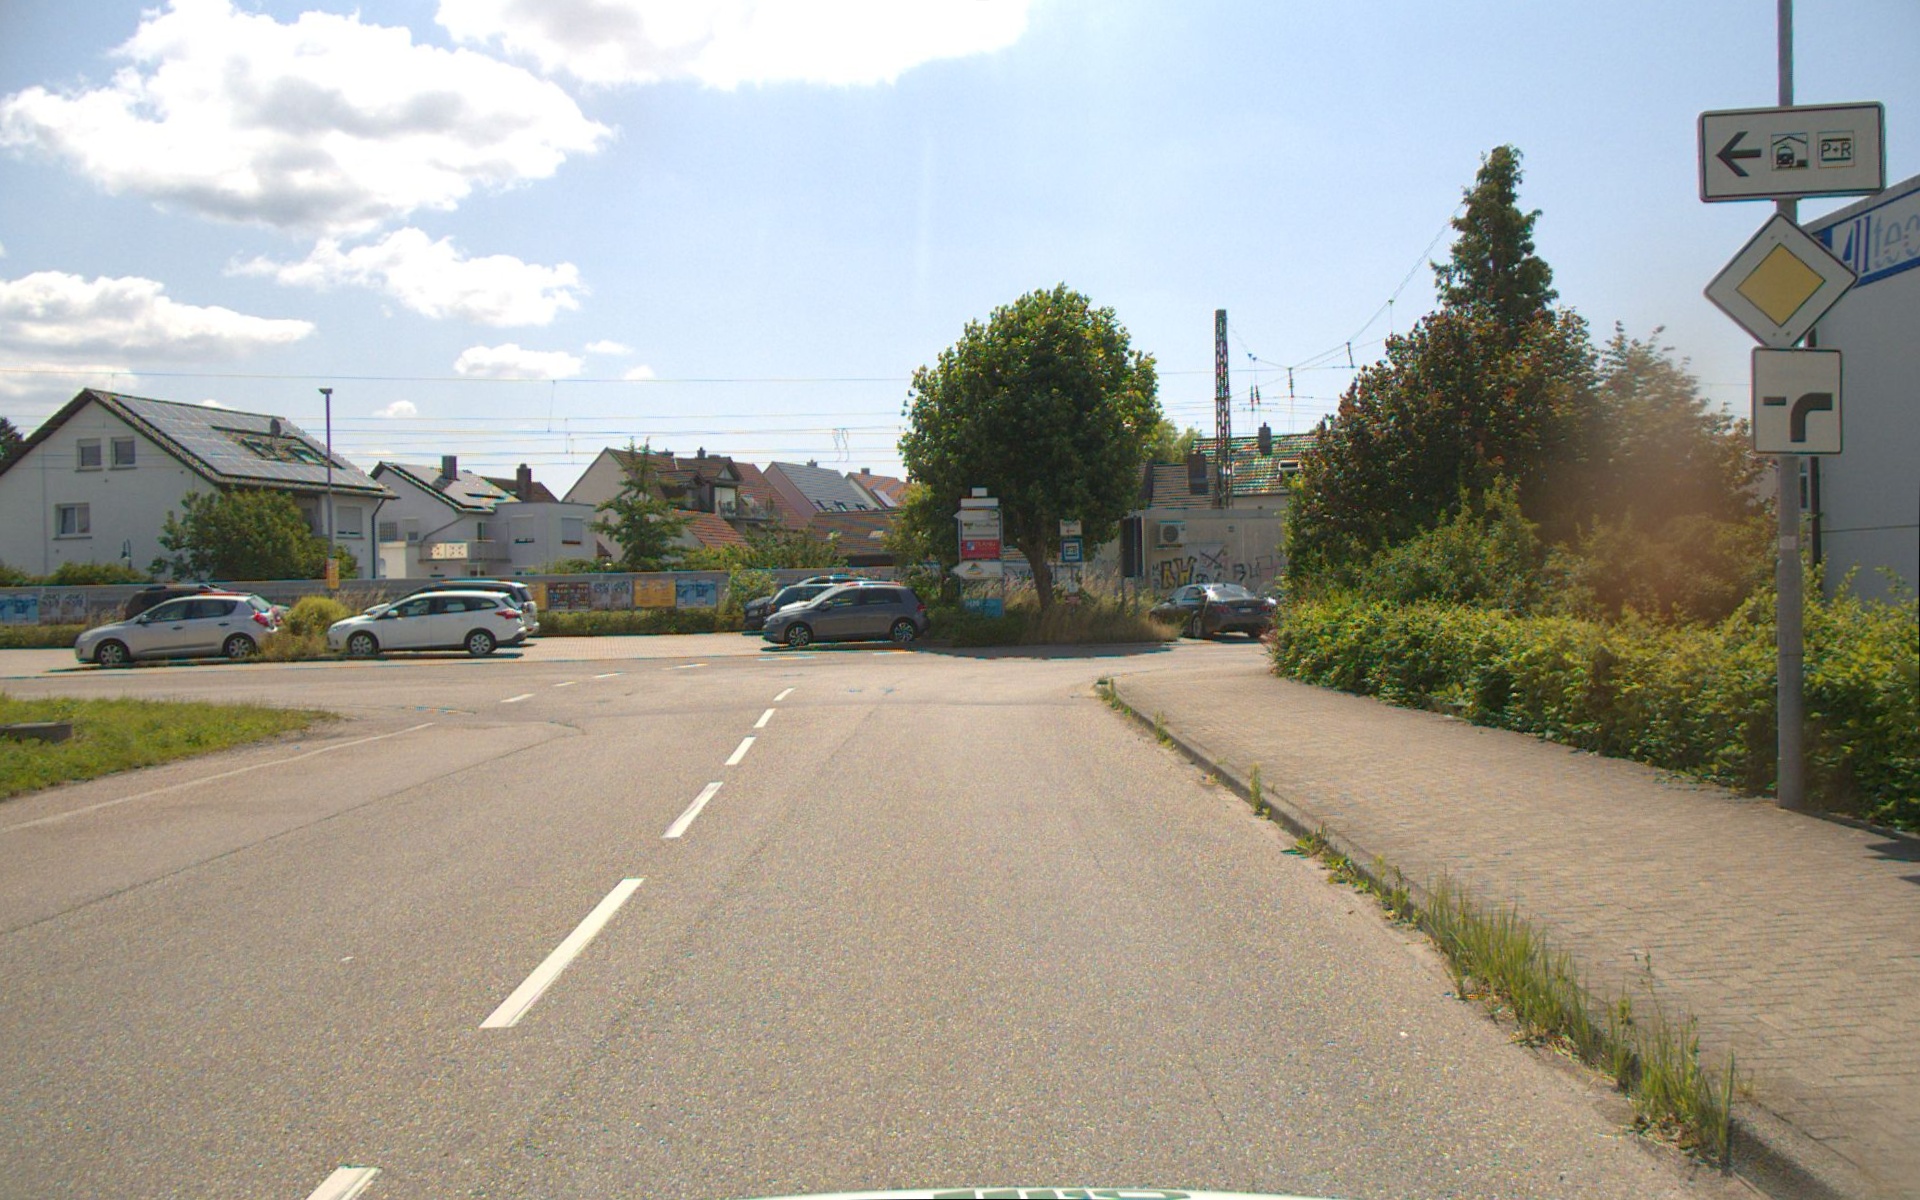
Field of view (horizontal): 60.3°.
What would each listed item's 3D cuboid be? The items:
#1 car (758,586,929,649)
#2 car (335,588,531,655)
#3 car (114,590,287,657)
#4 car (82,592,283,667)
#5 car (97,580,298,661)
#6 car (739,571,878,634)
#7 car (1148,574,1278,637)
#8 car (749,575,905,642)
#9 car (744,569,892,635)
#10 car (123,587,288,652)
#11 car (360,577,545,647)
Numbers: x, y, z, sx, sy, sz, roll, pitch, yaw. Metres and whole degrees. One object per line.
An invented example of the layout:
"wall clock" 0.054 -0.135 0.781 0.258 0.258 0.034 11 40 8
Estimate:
"car" -2.909 0.411 40.989 4.110 1.488 1.661 0 0 -9
"car" -12.364 0.504 39.076 4.208 1.502 1.822 1 0 -12
"car" -19.406 0.574 42.389 3.718 1.585 1.688 -2 0 -14
"car" -17.706 0.649 37.861 3.939 1.589 1.813 -1 0 -18
"car" -18.327 0.472 39.967 4.095 1.667 1.946 -3 1 -17
"car" -4.422 0.087 48.039 3.914 1.760 1.766 1 0 -10
"car" 6.718 0.103 44.339 1.726 1.410 3.978 0 4 -20
"car" -3.523 0.216 43.430 3.914 1.614 1.776 -1 0 -10
"car" -3.975 0.039 46.031 3.914 1.686 1.995 -1 0 -10
"car" -20.142 0.497 44.277 3.768 1.617 1.491 -2 0 -16
"car" -13.327 0.281 43.672 4.369 1.720 1.996 -1 2 -9
